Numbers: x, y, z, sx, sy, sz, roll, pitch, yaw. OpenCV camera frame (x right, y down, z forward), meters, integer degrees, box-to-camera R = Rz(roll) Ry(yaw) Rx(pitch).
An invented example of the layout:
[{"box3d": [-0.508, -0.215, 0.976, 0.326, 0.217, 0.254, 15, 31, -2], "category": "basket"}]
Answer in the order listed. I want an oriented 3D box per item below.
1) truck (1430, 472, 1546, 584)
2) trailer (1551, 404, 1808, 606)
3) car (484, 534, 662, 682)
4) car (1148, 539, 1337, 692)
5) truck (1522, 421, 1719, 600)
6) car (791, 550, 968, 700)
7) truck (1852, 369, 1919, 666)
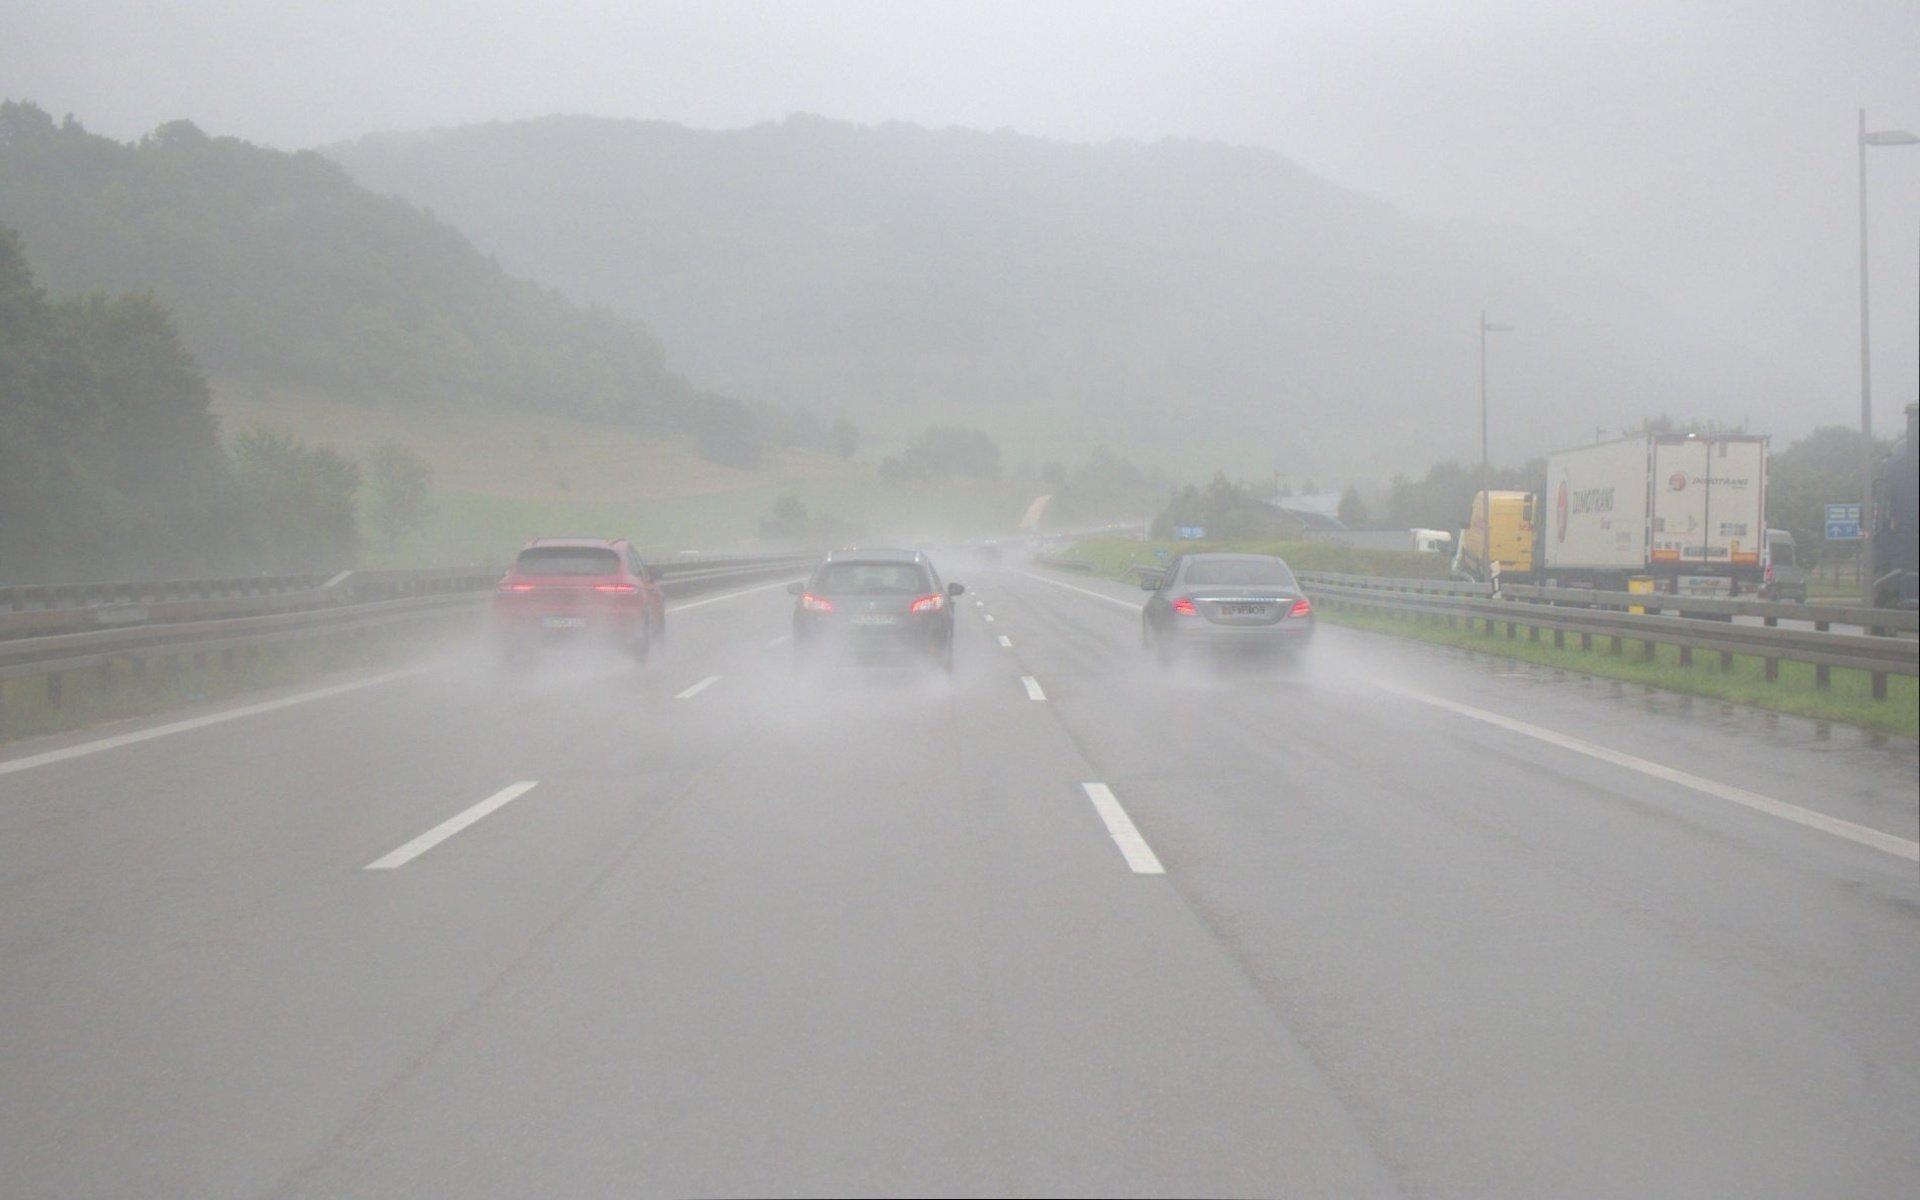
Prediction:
[{"box3d": [15.556, -2.095, 101.835, 2.291, 3.136, 8.863, 1, 1, 2], "category": "truck"}, {"box3d": [16.357, -2.102, 79.196, 3.516, 4.247, 11.920, 1, 1, 1], "category": "trailer"}, {"box3d": [-4.917, 0.063, 44.128, 1.884, 1.809, 4.000, 0, 1, -1], "category": "car"}, {"box3d": [3.387, 0.145, 41.873, 1.971, 1.754, 4.000, 0, 1, 0], "category": "car"}, {"box3d": [16.439, -2.189, 86.177, 3.527, 4.205, 7.816, 1, 1, 1], "category": "truck"}, {"box3d": [-0.860, 0.241, 38.919, 1.859, 1.584, 4.000, 1, 1, 0], "category": "car"}, {"box3d": [15.871, -1.140, 48.927, 3.401, 4.387, 11.049, 1, 1, 0], "category": "truck"}]
